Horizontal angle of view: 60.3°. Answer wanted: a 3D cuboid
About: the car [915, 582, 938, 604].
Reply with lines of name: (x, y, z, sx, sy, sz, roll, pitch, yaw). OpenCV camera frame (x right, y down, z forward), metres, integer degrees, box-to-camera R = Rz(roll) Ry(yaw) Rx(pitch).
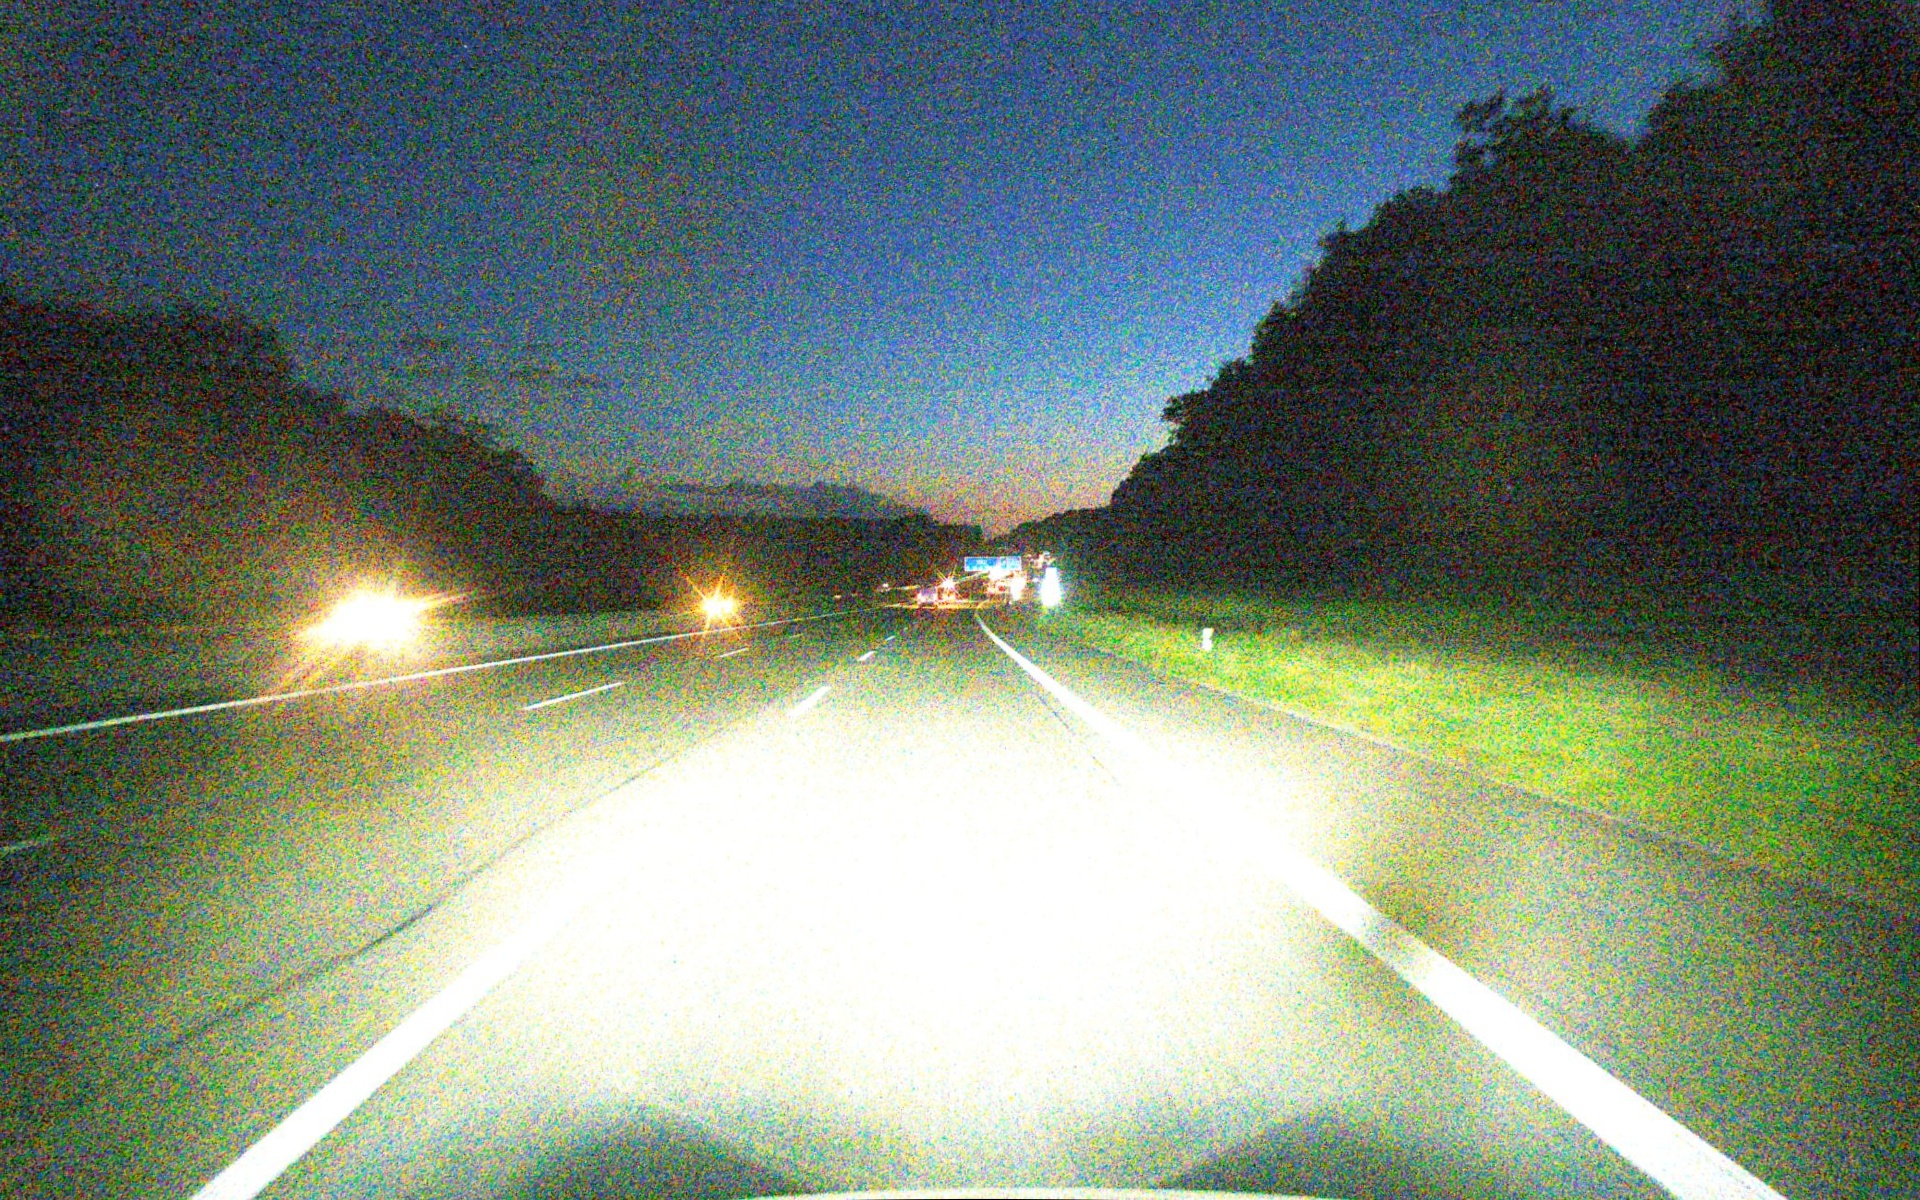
car: (-3.706, -0.745, 183.241, 2.460, 2.354, 4.970, 0, 0, 0)

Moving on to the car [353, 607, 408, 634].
car: (-29.140, 1.025, 83.244, 1.560, 1.287, 3.997, 0, 0, -4)
